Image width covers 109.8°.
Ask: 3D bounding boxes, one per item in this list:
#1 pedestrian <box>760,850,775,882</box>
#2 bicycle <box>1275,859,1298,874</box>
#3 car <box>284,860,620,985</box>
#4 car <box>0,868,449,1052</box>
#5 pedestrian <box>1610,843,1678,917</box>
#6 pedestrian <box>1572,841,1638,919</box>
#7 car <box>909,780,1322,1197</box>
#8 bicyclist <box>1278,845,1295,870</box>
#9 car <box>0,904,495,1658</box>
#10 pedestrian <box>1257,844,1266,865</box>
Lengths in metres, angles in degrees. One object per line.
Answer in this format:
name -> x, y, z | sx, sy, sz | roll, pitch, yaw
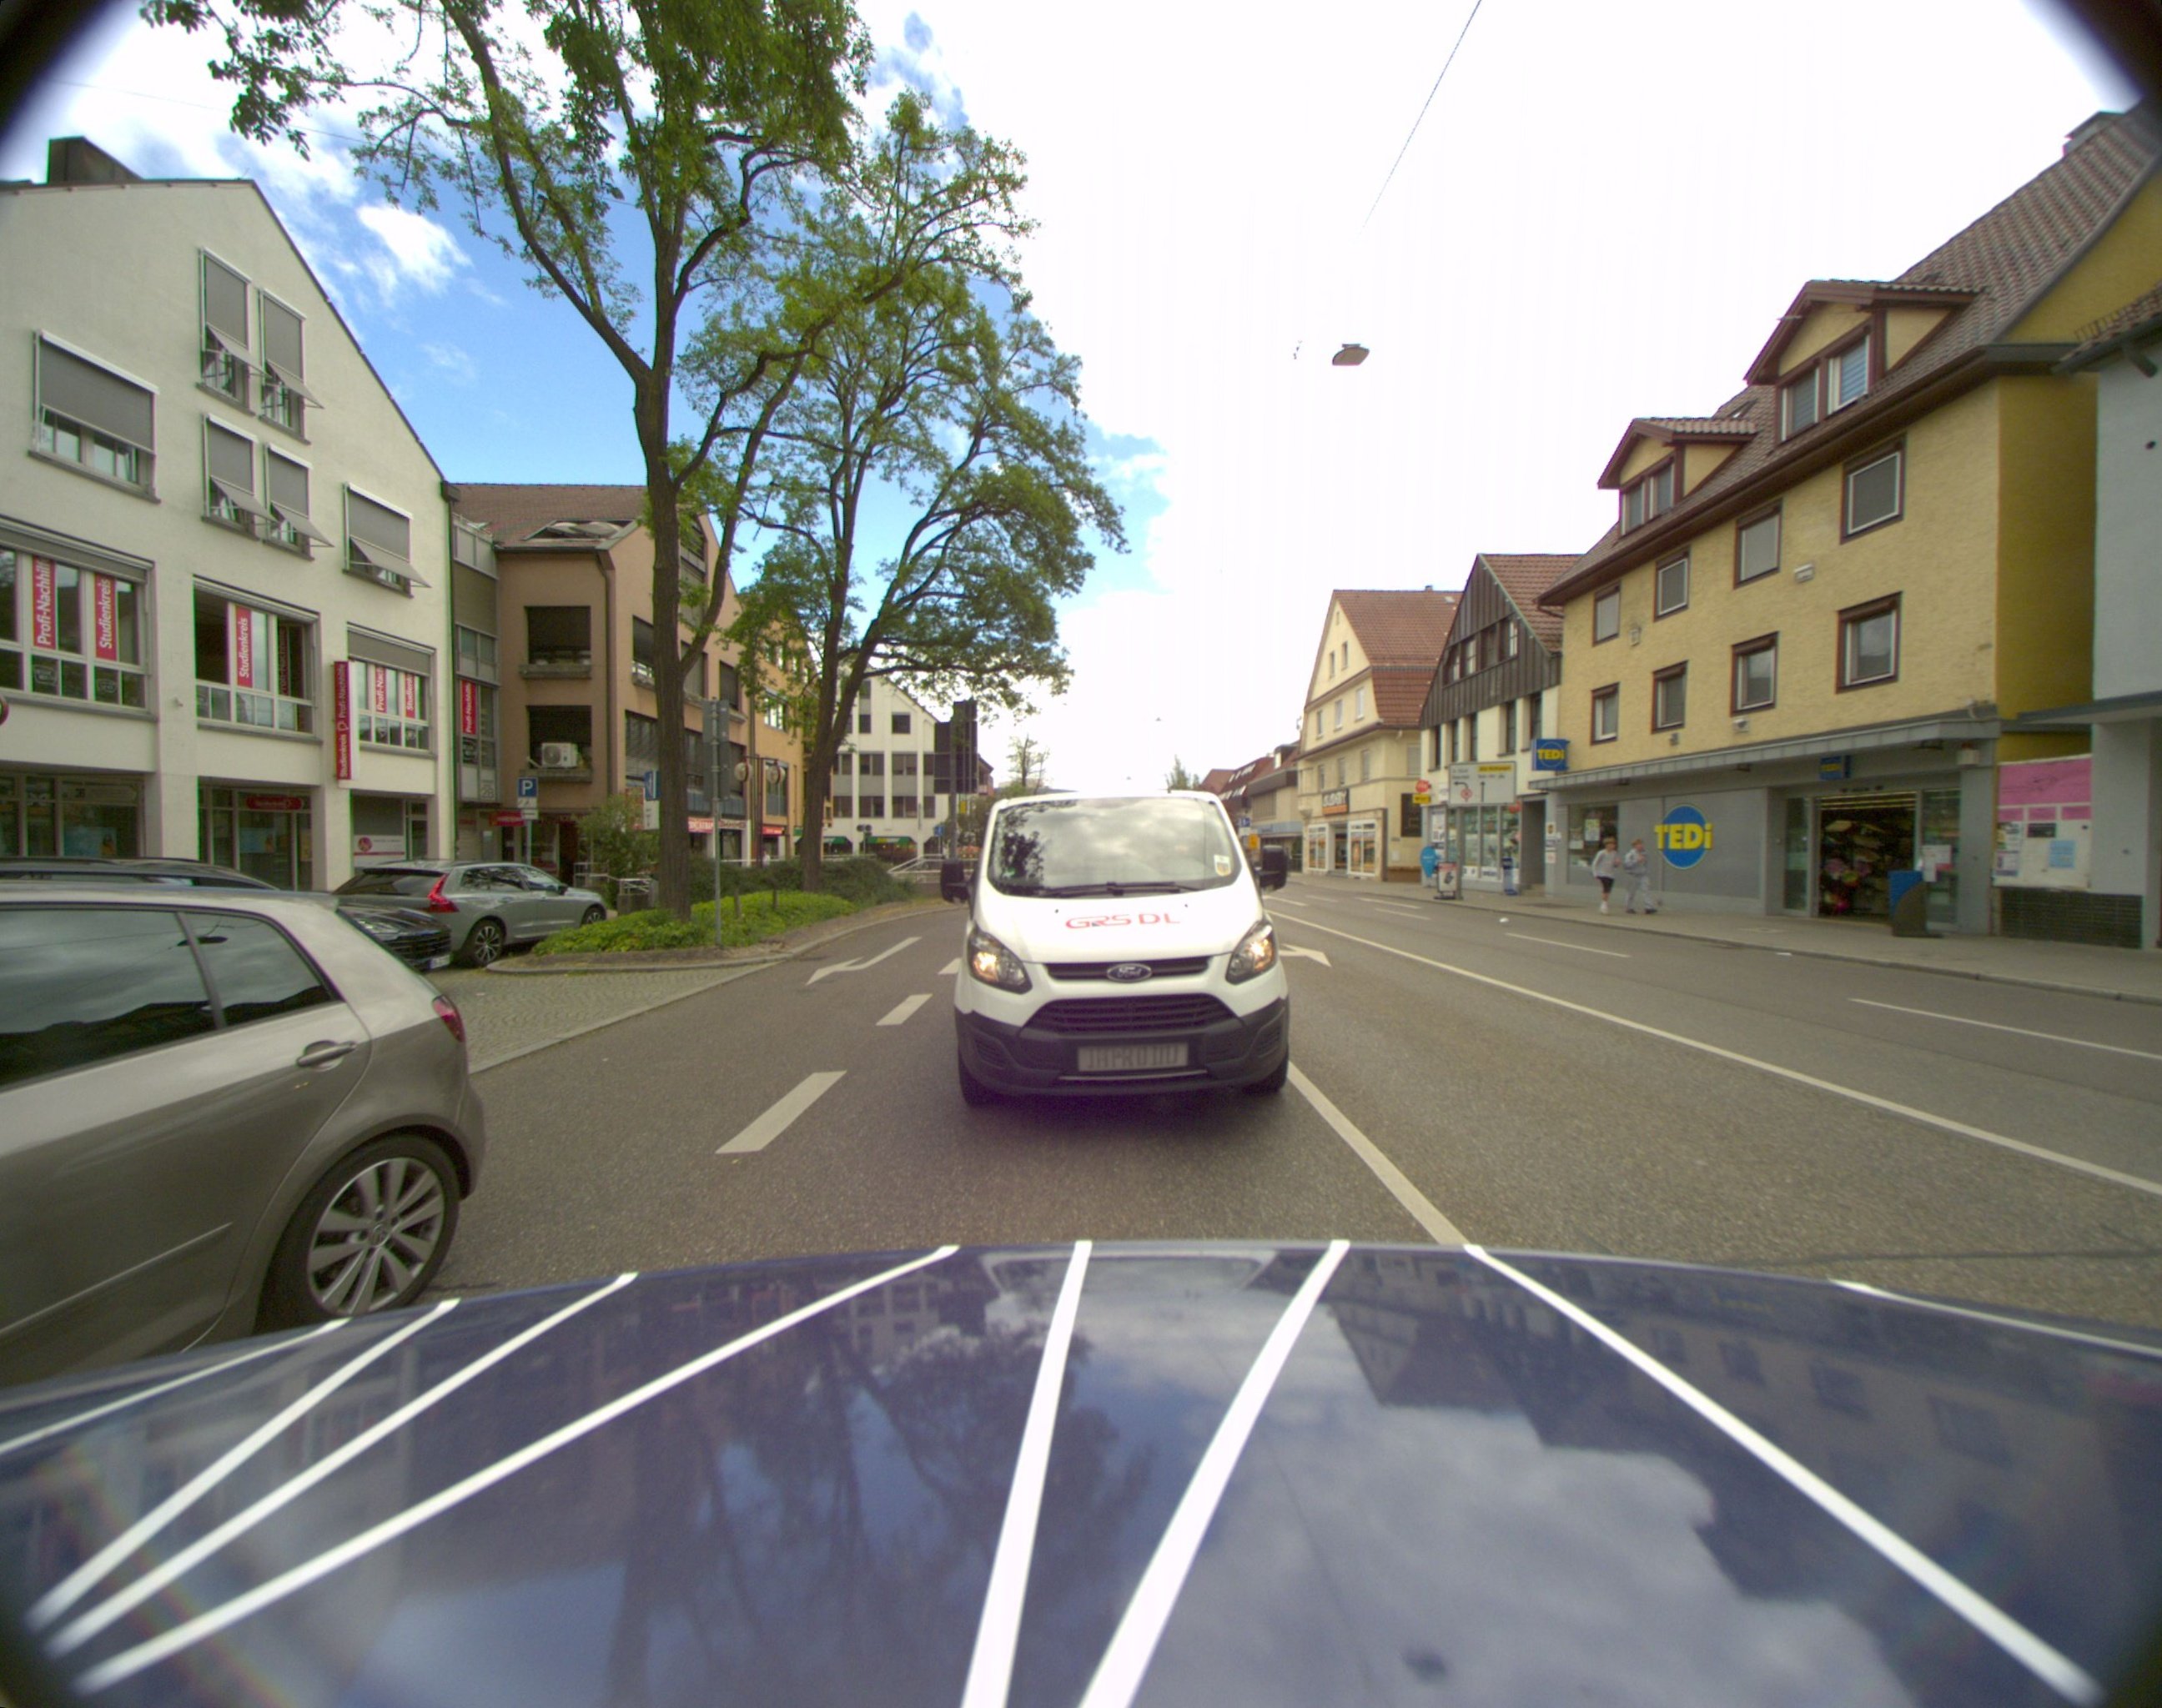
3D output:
pedestrian -> -15.913, 0.597, 38.553 | 0.494, 1.615, 0.504 | 0, 1, 1
bicycle -> 12.010, 0.697, 44.480 | 0.773, 0.818, 2.240 | 0, 1, 0
car -> -10.329, 0.988, 13.130 | 1.999, 1.645, 4.751 | 1, 1, -3
car -> -10.071, 1.007, 8.064 | 4.758, 1.669, 1.996 | 1, 0, -20
pedestrian -> 12.369, 0.557, 16.719 | 0.812, 1.574, 0.920 | -1, 1, 1
pedestrian -> 11.521, 0.550, 16.732 | 0.812, 1.651, 0.920 | -1, 1, 1
car -> 0.209, 0.640, 6.595 | 1.940, 1.968, 5.779 | -2, 1, 1
bicyclist -> 12.016, 0.200, 44.474 | 0.773, 1.415, 0.752 | 0, 1, 0
car -> -3.268, 1.005, 0.961 | 1.801, 1.521, 4.000 | -2, 0, 2
pedestrian -> 16.588, 0.015, 69.880 | 0.673, 1.891, 0.678 | 0, 1, 1
